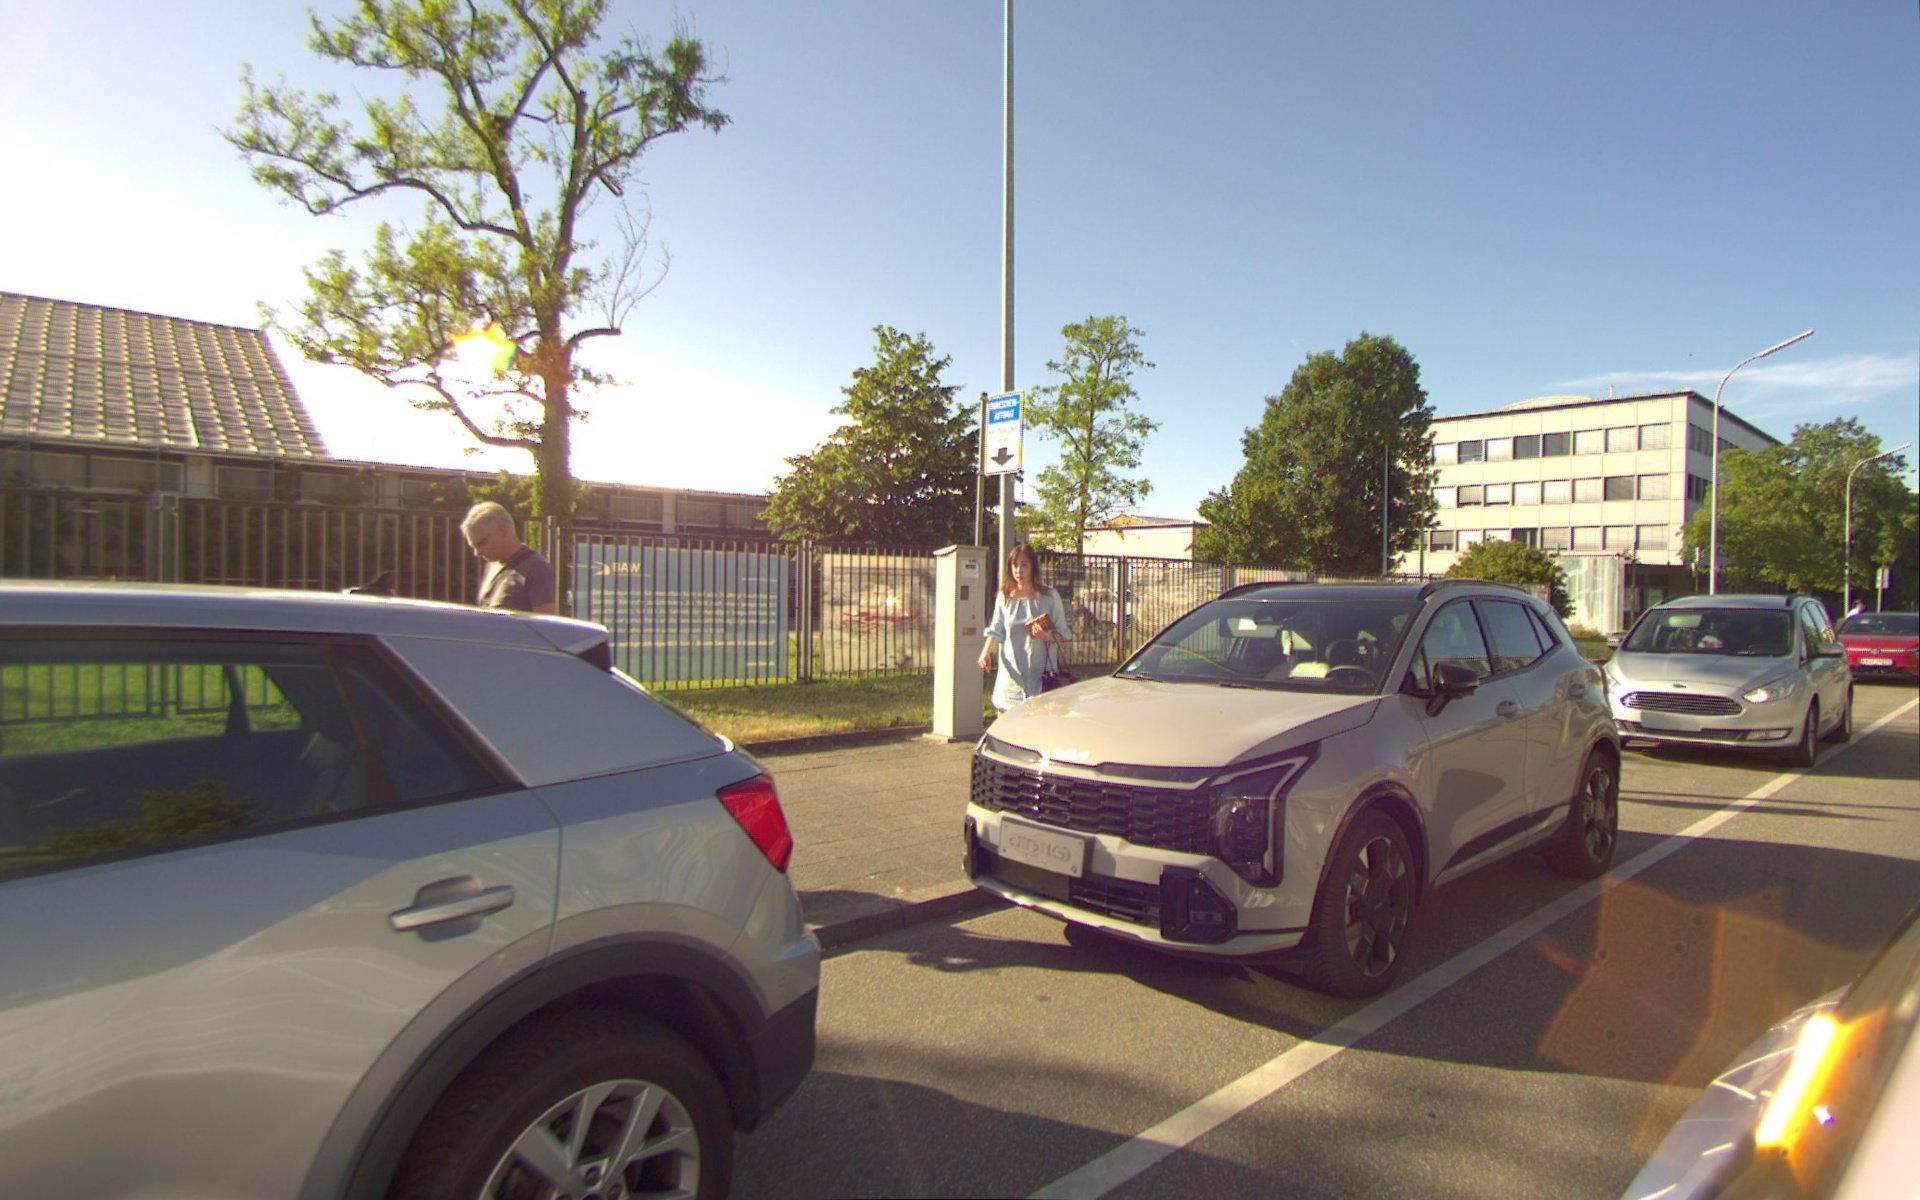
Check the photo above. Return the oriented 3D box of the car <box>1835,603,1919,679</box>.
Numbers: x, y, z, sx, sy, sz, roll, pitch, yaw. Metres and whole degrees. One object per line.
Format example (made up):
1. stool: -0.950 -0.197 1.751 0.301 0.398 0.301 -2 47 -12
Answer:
1. car: 20.638 0.828 22.111 4.642 1.529 1.811 0 -1 -43

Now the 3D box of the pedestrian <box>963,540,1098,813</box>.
1. pedestrian: 0.454 0.456 6.473 0.672 1.632 0.539 0 -1 -44

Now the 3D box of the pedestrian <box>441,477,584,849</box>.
1. pedestrian: -2.245 0.290 5.073 0.514 1.730 0.521 0 -1 -42

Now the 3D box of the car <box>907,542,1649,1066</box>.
1. car: 1.921 0.645 5.219 4.277 1.627 1.703 0 -1 -42

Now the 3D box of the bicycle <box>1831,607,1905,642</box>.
1. bicycle: 33.546 0.877 37.420 0.654 1.157 1.906 2 2 -26

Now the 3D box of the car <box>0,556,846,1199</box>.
1. car: -2.235 0.697 1.491 3.915 1.506 1.701 0 -1 -45

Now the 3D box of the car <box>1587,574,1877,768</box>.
1. car: 8.777 0.650 11.337 4.624 1.744 1.811 0 -1 -43

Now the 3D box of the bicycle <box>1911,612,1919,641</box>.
1. bicycle: 36.893 1.094 37.817 0.689 1.021 1.883 9 -1 -43

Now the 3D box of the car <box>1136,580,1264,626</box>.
1. car: 9.607 0.083 40.729 4.629 1.689 1.968 2 1 44

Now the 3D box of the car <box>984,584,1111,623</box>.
1. car: 2.926 0.137 34.496 1.848 1.268 4.145 0 -1 -44

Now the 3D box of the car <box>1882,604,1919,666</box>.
1. car: 24.937 0.858 25.861 4.143 1.506 1.702 0 -1 -43

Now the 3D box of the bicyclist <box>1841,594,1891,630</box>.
1. bicyclist: 33.505 0.428 37.435 0.844 1.284 1.102 1 0 -26

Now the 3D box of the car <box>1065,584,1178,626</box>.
1. car: 5.900 0.153 37.273 1.647 1.397 3.892 1 1 -44

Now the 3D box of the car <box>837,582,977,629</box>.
1. car: -1.595 0.169 29.190 1.798 1.268 4.145 0 -1 -44

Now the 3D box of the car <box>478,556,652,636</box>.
1. car: -9.273 -0.053 23.513 2.061 1.665 4.969 0 -1 -43
